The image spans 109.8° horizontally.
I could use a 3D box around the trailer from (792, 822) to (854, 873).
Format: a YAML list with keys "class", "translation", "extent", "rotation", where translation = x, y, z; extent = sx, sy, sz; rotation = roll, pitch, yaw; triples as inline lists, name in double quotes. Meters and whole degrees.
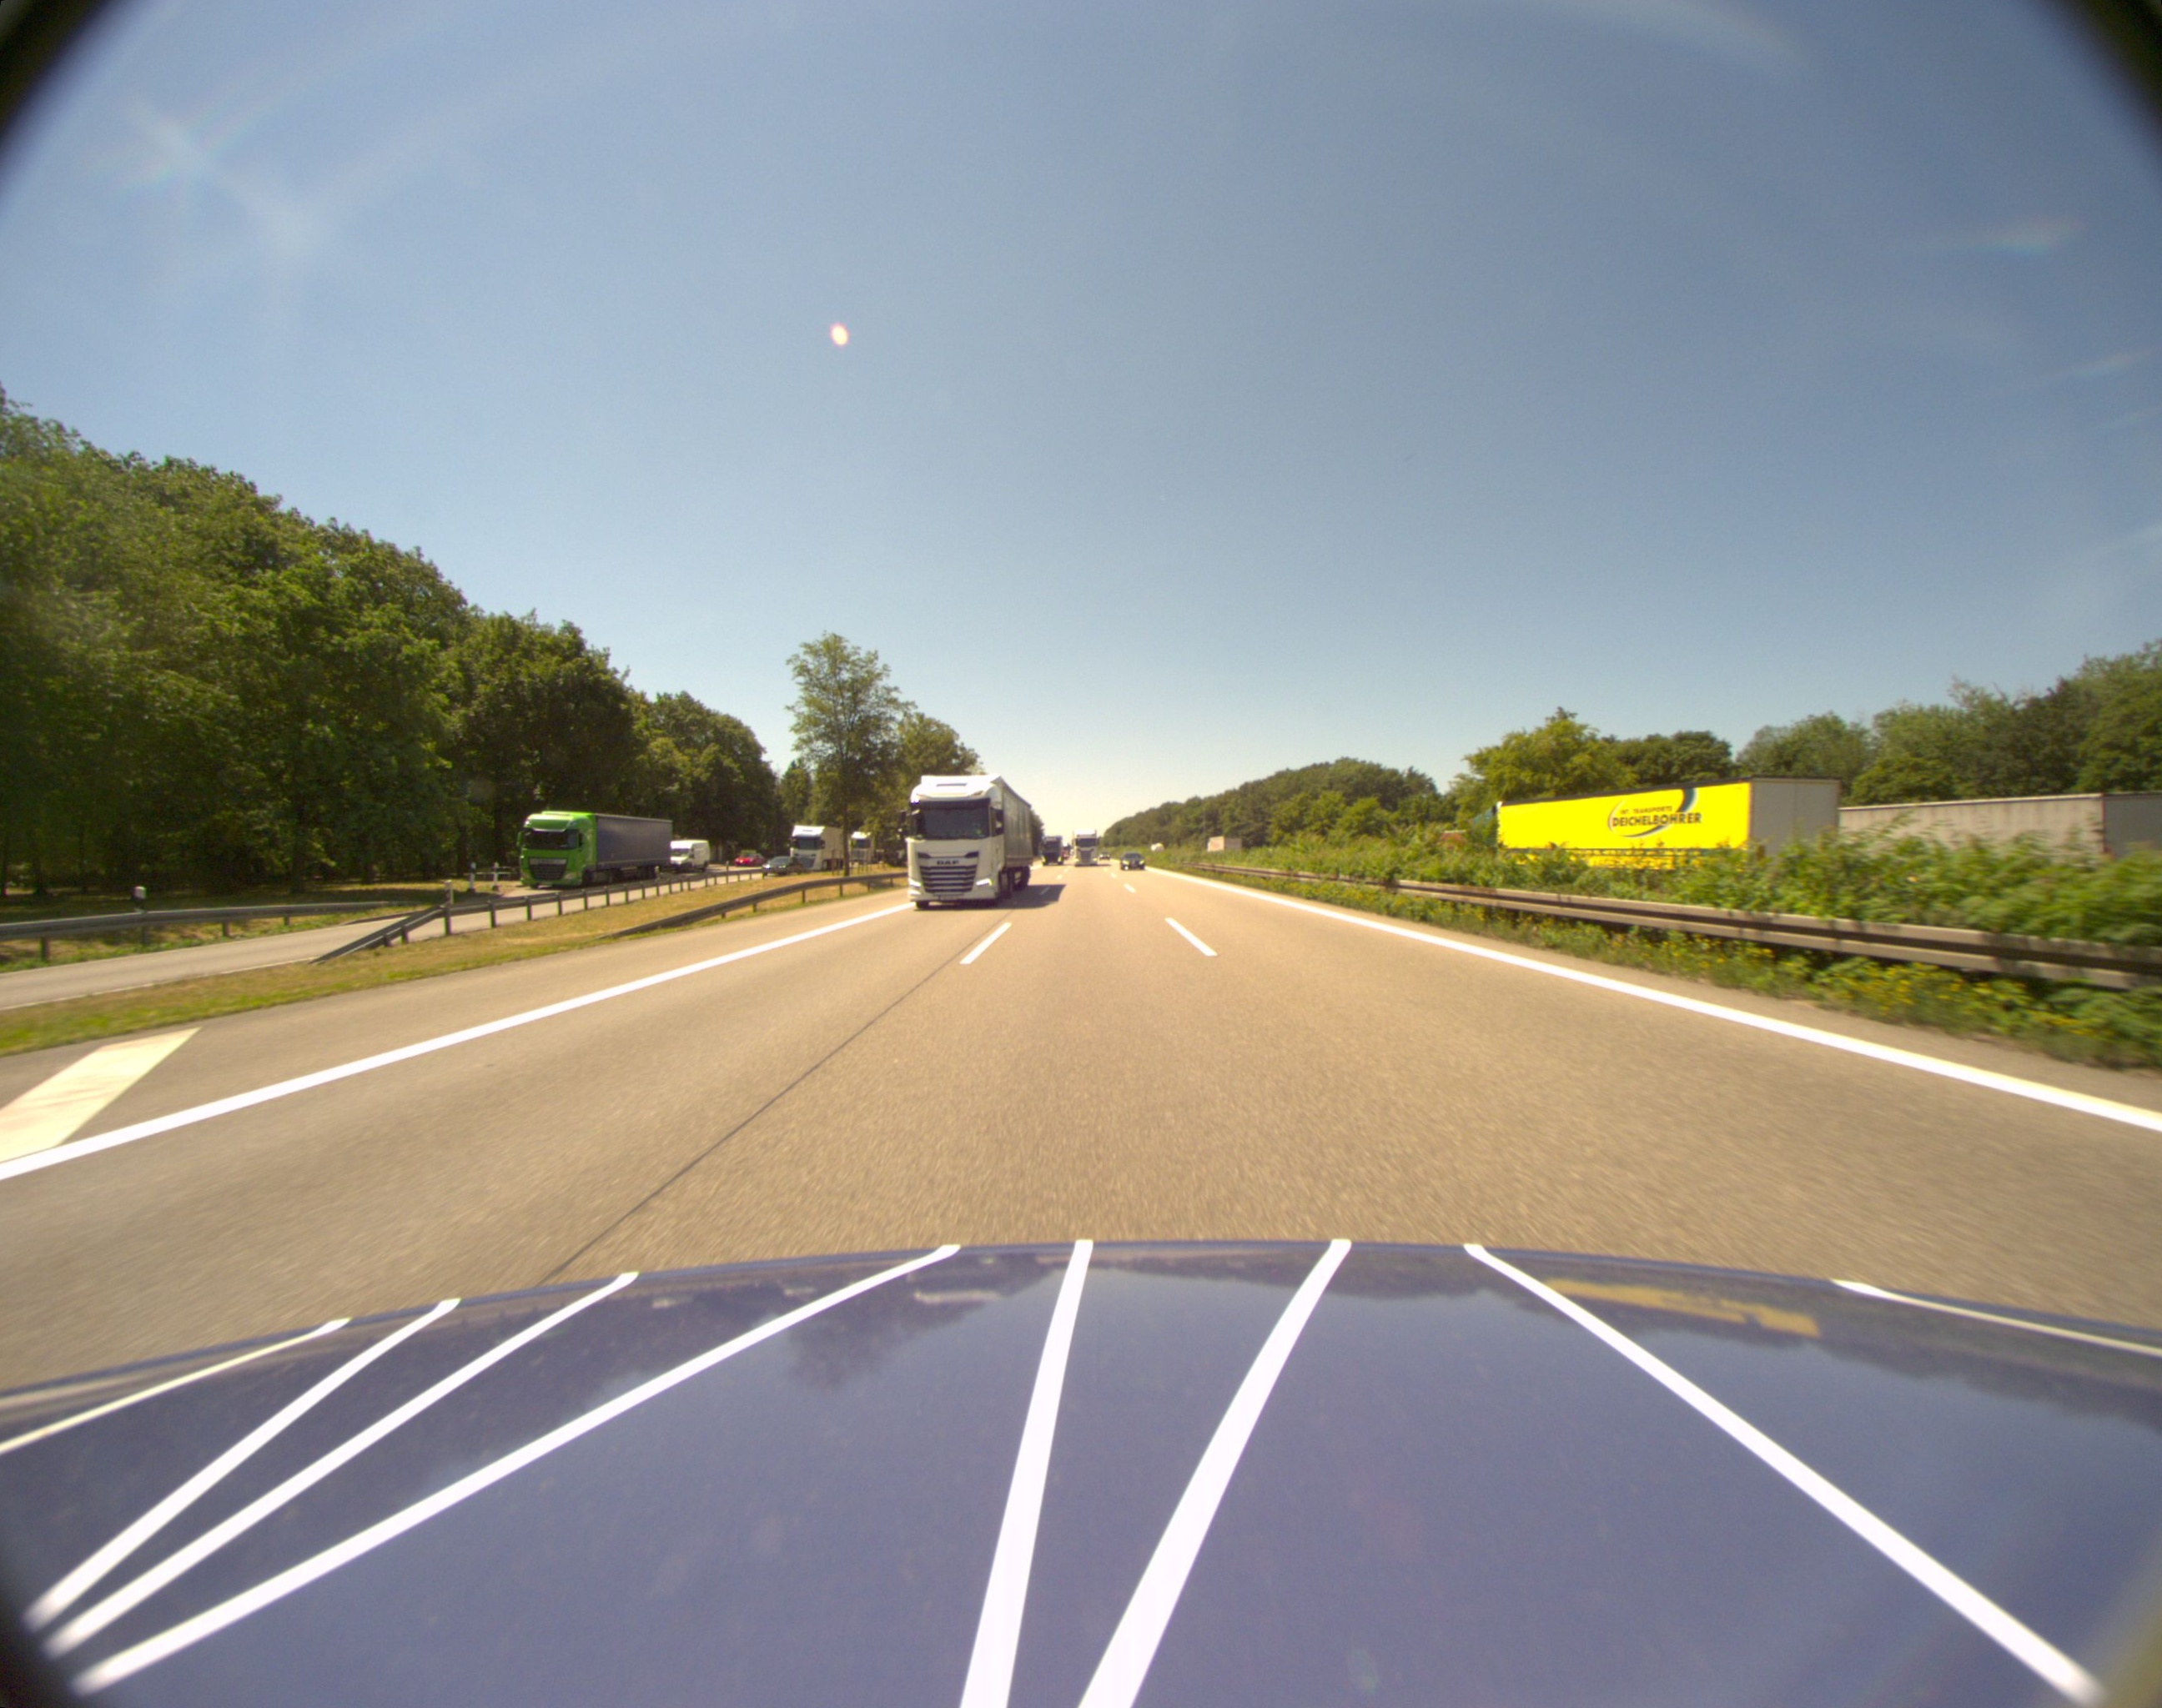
- class: "trailer"
  translation: [-25.138, -0.635, 74.926]
  extent: [3.394, 4.437, 14.346]
  rotation: [-2, 1, -10]

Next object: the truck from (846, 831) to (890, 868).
- class: "truck"
  translation: [-26.890, -0.567, 96.267]
  extent: [3.392, 4.437, 8.230]
  rotation: [-1, 1, -2]

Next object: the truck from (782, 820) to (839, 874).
- class: "truck"
  translation: [-23.826, -0.602, 67.390]
  extent: [3.394, 4.437, 7.382]
  rotation: [-2, 1, -10]

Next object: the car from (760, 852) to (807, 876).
- class: "car"
  translation: [-22.968, 0.749, 58.841]
  extent: [1.999, 1.700, 4.677]
  rotation: [1, 1, -3]

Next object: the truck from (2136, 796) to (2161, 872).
- class: "truck"
  translation: [52.873, -0.940, 33.341]
  extent: [3.606, 3.635, 7.410]
  rotation: [0, 1, 12]

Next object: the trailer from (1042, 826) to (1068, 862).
- class: "trailer"
  translation: [-3.276, -1.264, 98.224]
  extent: [2.863, 4.247, 11.470]
  rotation: [-1, 1, 0]

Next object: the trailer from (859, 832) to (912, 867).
- class: "trailer"
  translation: [-27.304, -0.656, 107.166]
  extent: [3.392, 4.437, 18.121]
  rotation: [-1, 1, -2]

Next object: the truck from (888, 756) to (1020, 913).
- class: "truck"
  translation: [-3.797, -0.583, 24.557]
  extent: [2.863, 4.247, 6.863]
  rotation: [-2, 1, 1]

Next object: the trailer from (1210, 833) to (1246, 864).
- class: "trailer"
  translation: [21.534, -0.861, 111.957]
  extent: [2.910, 4.247, 11.487]
  rotation: [-2, 1, 0]

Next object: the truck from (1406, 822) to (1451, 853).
- class: "truck"
  translation: [49.368, -2.277, 108.141]
  extent: [3.611, 4.239, 5.935]
  rotation: [0, 1, -2]

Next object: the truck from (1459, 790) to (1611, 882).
- class: "truck"
  translation: [20.928, -0.784, 35.552]
  extent: [3.206, 3.803, 6.394]
  rotation: [-2, 1, 0]

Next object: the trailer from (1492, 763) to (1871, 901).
- class: "trailer"
  translation: [20.889, -0.707, 28.634]
  extent: [3.206, 3.803, 14.021]
  rotation: [-2, 1, 0]

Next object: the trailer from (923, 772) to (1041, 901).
- class: "trailer"
  translation: [-3.706, -0.680, 33.064]
  extent: [2.863, 4.247, 14.979]
  rotation: [-2, 1, 1]

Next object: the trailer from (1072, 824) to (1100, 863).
- class: "trailer"
  translation: [0.598, -1.219, 89.715]
  extent: [2.863, 4.247, 11.470]
  rotation: [-2, 1, 0]

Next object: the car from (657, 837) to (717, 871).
- class: "car"
  translation: [-31.330, -0.036, 60.654]
  extent: [2.315, 2.568, 6.642]
  rotation: [1, 1, -10]

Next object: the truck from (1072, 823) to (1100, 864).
- class: "truck"
  translation: [0.548, -1.150, 83.614]
  extent: [2.863, 4.247, 5.410]
  rotation: [-2, 1, 0]

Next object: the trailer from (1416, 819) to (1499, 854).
- class: "trailer"
  translation: [49.623, -2.208, 100.890]
  extent: [3.611, 4.239, 14.019]
  rotation: [0, 0, -2]

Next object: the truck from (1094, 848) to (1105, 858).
- class: "truck"
  translation: [4.521, -0.228, 187.246]
  extent: [2.576, 2.461, 5.614]
  rotation: [-2, 1, 0]

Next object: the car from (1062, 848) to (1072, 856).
- class: "car"
  translation: [-2.694, -0.393, 149.635]
  extent: [1.811, 1.612, 4.000]
  rotation: [0, 1, 0]

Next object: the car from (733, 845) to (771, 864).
- class: "car"
  translation: [-33.317, 0.026, 77.084]
  extent: [2.147, 1.743, 4.865]
  rotation: [1, 1, -7]

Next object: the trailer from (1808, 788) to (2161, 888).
- class: "trailer"
  translation: [44.790, -0.771, 38.730]
  extent: [3.222, 4.112, 14.055]
  rotation: [-2, 1, 6]

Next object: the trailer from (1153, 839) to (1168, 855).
- class: "trailer"
  translation: [20.909, -1.886, 201.198]
  extent: [2.889, 4.239, 10.838]
  rotation: [0, 1, 0]

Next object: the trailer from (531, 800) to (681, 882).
- class: "trailer"
  translation: [-28.548, -0.706, 46.783]
  extent: [3.395, 4.233, 13.130]
  rotation: [-2, 1, -12]

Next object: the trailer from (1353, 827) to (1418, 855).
- class: "trailer"
  translation: [48.471, -1.985, 121.772]
  extent: [3.612, 4.239, 14.014]
  rotation: [0, 1, -6]

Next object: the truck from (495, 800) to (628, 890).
- class: "truck"
  translation: [-27.104, -0.470, 40.116]
  extent: [3.395, 4.234, 6.609]
  rotation: [-2, 1, -12]

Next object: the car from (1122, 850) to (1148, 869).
- class: "car"
  translation: [4.378, 0.431, 62.283]
  extent: [1.811, 1.399, 4.000]
  rotation: [-3, 1, 0]

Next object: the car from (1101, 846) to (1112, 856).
- class: "car"
  translation: [4.568, -0.537, 135.232]
  extent: [1.806, 1.774, 3.999]
  rotation: [-1, 1, 1]
